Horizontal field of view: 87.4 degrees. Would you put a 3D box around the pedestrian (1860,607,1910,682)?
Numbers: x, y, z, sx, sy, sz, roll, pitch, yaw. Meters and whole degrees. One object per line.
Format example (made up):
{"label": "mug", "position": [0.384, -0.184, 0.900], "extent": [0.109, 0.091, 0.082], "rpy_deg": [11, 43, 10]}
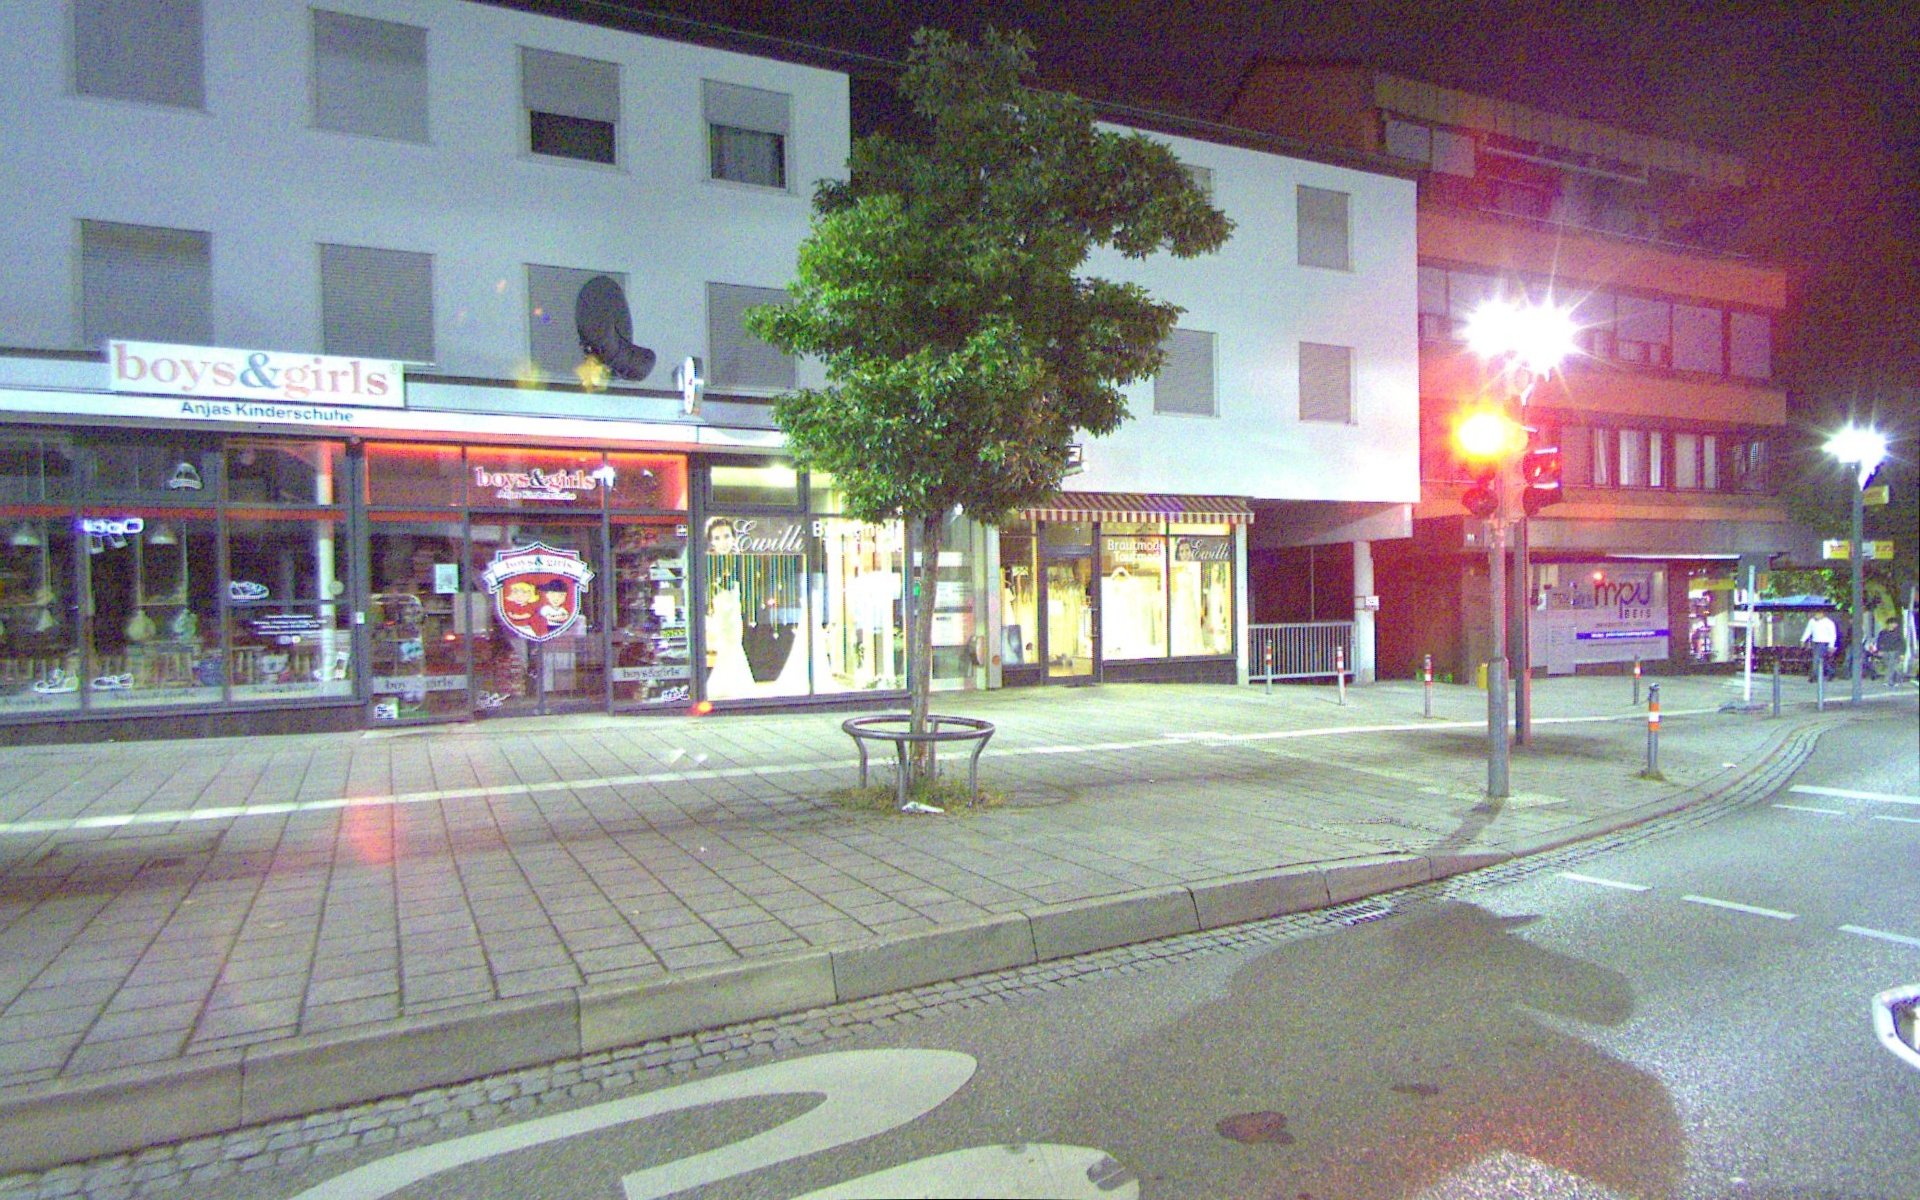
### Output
{"label": "pedestrian", "position": [22.954, 1.101, 24.935], "extent": [0.561, 1.819, 0.714], "rpy_deg": [2, -1, -23]}

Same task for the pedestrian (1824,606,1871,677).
{"label": "pedestrian", "position": [23.397, 1.089, 26.488], "extent": [0.561, 1.819, 0.714], "rpy_deg": [2, -1, -23]}

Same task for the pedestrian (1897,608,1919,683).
{"label": "pedestrian", "position": [23.534, 1.112, 24.551], "extent": [0.561, 1.819, 0.714], "rpy_deg": [2, -1, -23]}

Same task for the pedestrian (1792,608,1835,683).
{"label": "pedestrian", "position": [21.227, 1.115, 24.994], "extent": [0.565, 1.819, 0.709], "rpy_deg": [3, -1, -42]}
